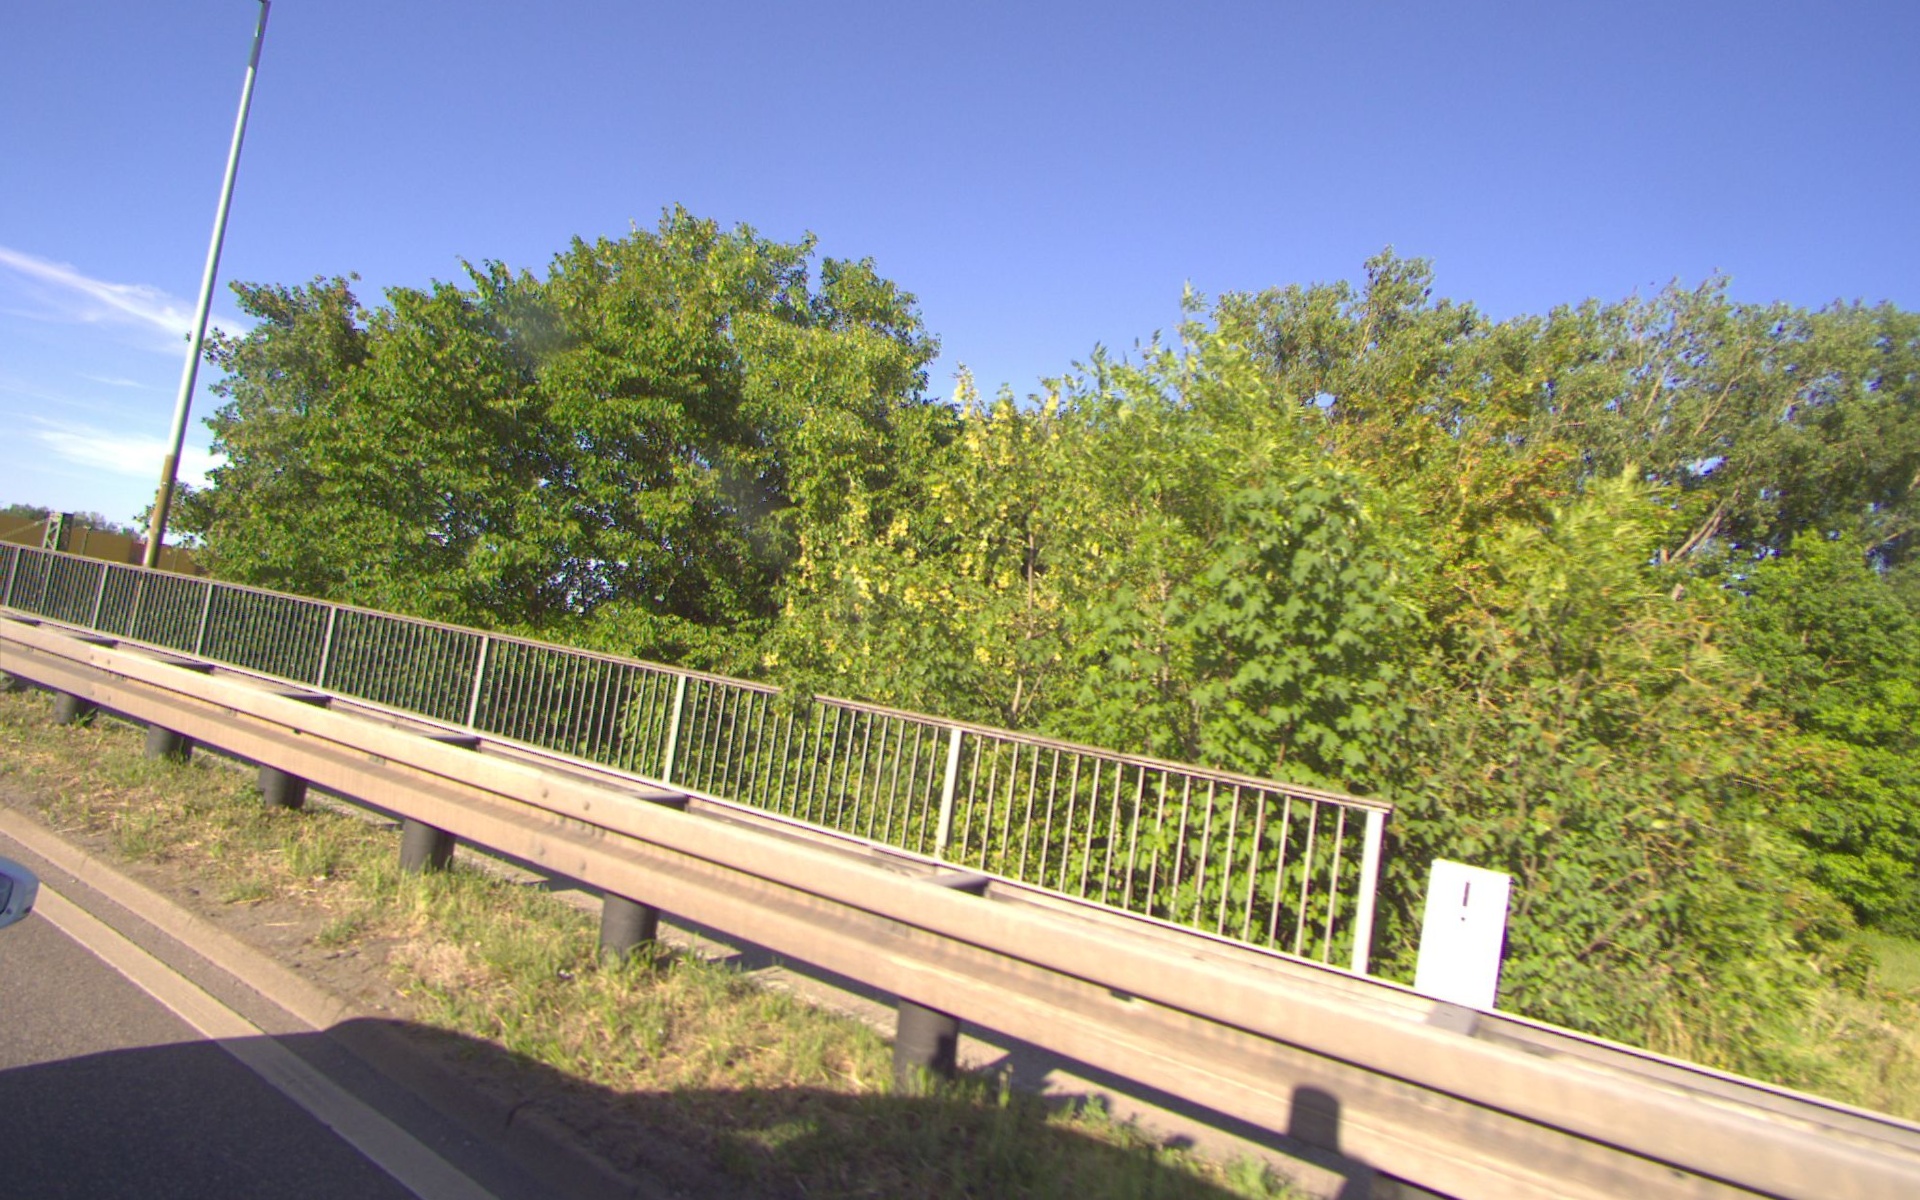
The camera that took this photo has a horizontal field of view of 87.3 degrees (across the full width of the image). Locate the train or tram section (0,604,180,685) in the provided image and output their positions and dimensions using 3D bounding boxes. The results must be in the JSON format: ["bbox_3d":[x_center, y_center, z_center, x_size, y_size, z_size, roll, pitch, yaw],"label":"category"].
[{"bbox_3d":[-67.566,3.356,75.776,3.275,5.319,16.904,8,-3,2],"label":"train or tram section"}]
